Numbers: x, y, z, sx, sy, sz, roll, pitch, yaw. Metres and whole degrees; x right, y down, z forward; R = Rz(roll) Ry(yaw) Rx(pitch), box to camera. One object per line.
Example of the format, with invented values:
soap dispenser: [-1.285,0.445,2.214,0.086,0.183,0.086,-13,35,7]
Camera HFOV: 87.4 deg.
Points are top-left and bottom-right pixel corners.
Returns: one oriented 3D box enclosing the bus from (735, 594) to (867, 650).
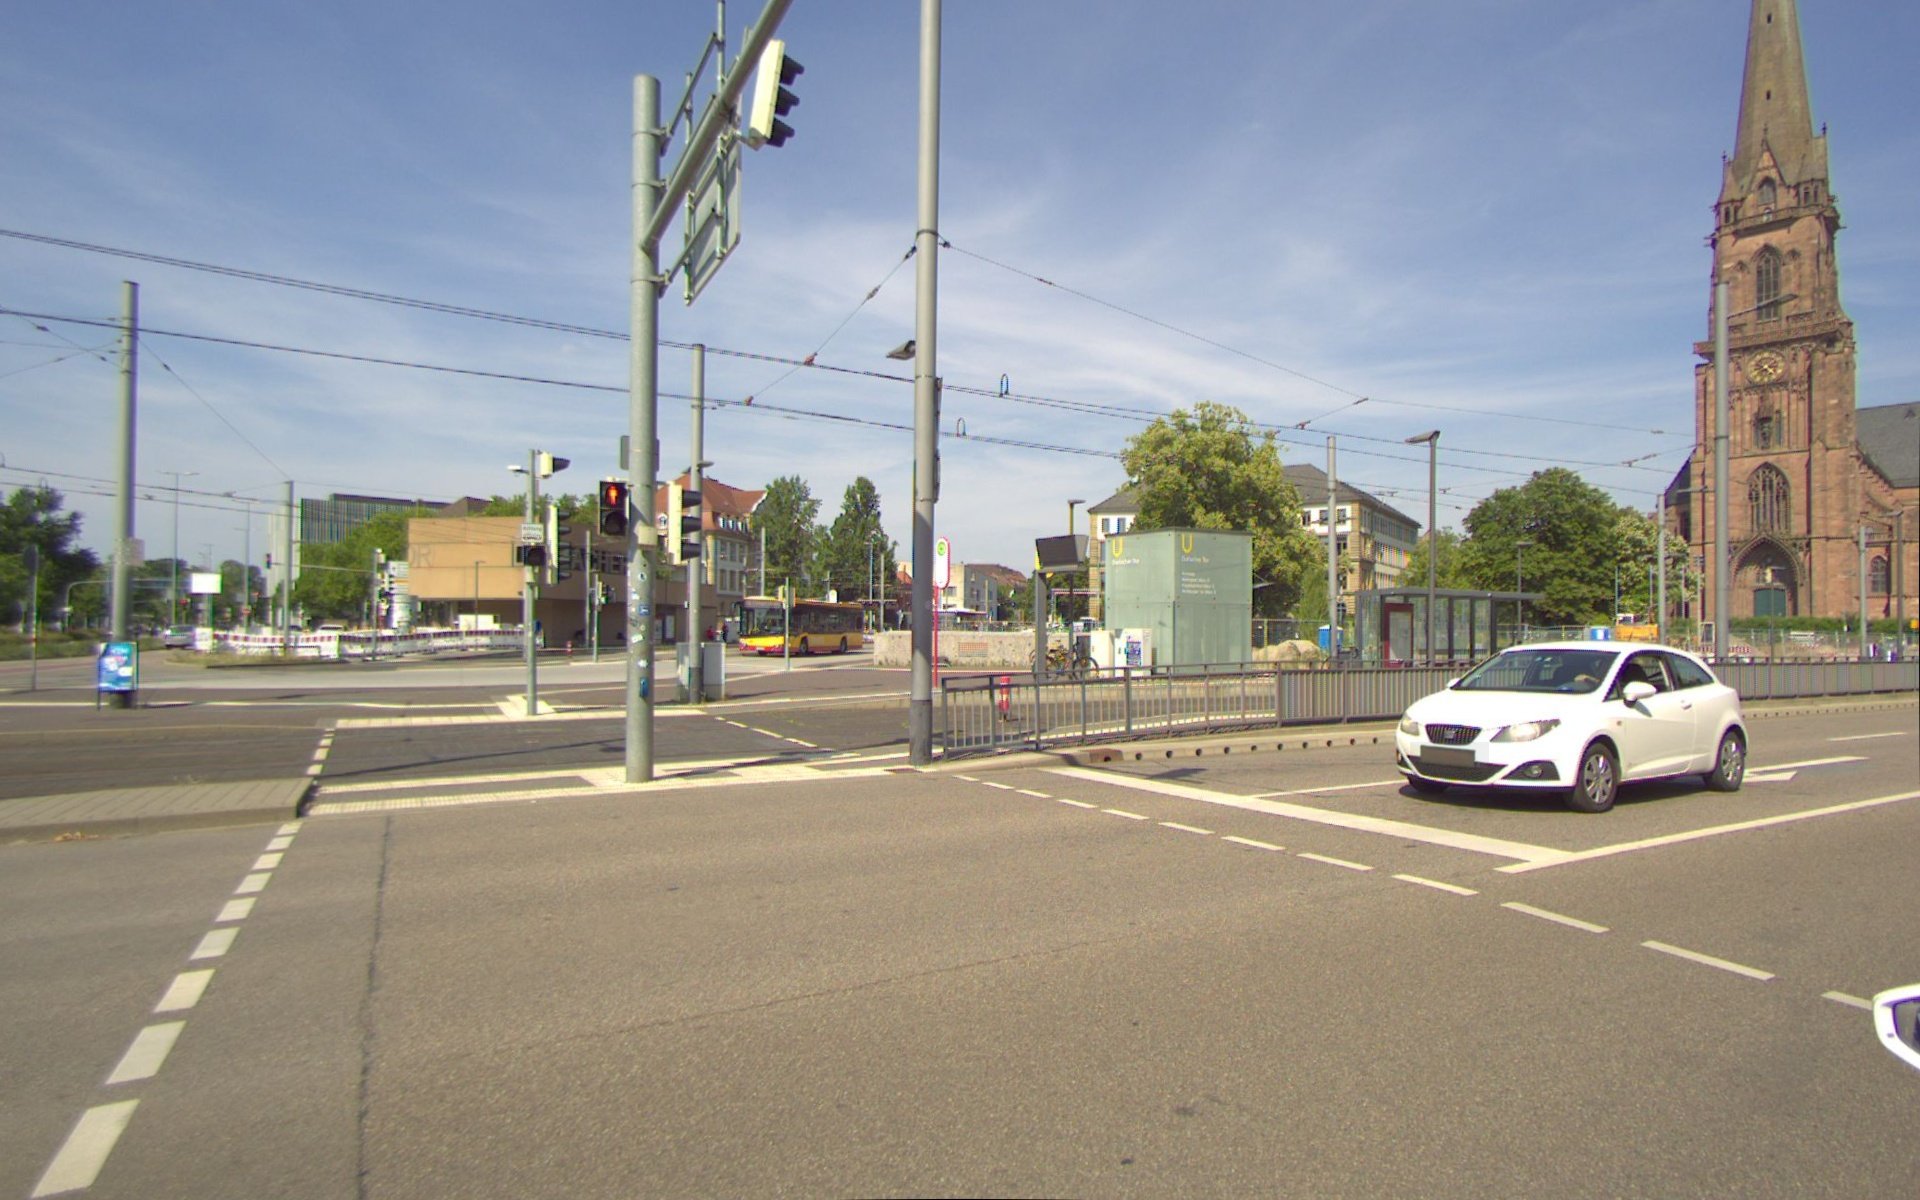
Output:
bus: [-8.503,1.099,55.903,2.703,2.718,11.794,-2,-1,14]

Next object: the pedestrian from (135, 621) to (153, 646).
pedestrian: [-56.173,2.305,69.162,0.632,1.696,0.751,1,-1,-11]

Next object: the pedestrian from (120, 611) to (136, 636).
pedestrian: [-56.796,1.595,68.561,0.532,1.696,0.750,0,-1,-13]

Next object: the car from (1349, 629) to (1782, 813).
car: [5.809,1.036,9.558,4.076,1.416,1.747,1,-5,-30]

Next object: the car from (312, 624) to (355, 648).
car: [-40.827,2.324,65.546,1.778,1.439,3.977,-1,-1,-24]

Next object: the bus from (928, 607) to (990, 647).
bus: [0.061,2.432,91.114,2.703,3.366,11.796,0,-2,15]

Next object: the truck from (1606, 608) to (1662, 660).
truck: [49.262,2.483,73.356,2.981,3.616,6.019,-1,-2,37]

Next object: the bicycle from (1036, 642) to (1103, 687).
bicycle: [2.809,1.645,25.722,1.634,1.085,0.413,-1,-2,-12]

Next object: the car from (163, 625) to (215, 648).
car: [-47.515,2.222,61.955,1.577,1.304,3.977,-1,-1,-24]

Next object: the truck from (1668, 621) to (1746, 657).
truck: [58.678,3.034,78.979,2.353,2.714,4.386,1,-2,-25]
